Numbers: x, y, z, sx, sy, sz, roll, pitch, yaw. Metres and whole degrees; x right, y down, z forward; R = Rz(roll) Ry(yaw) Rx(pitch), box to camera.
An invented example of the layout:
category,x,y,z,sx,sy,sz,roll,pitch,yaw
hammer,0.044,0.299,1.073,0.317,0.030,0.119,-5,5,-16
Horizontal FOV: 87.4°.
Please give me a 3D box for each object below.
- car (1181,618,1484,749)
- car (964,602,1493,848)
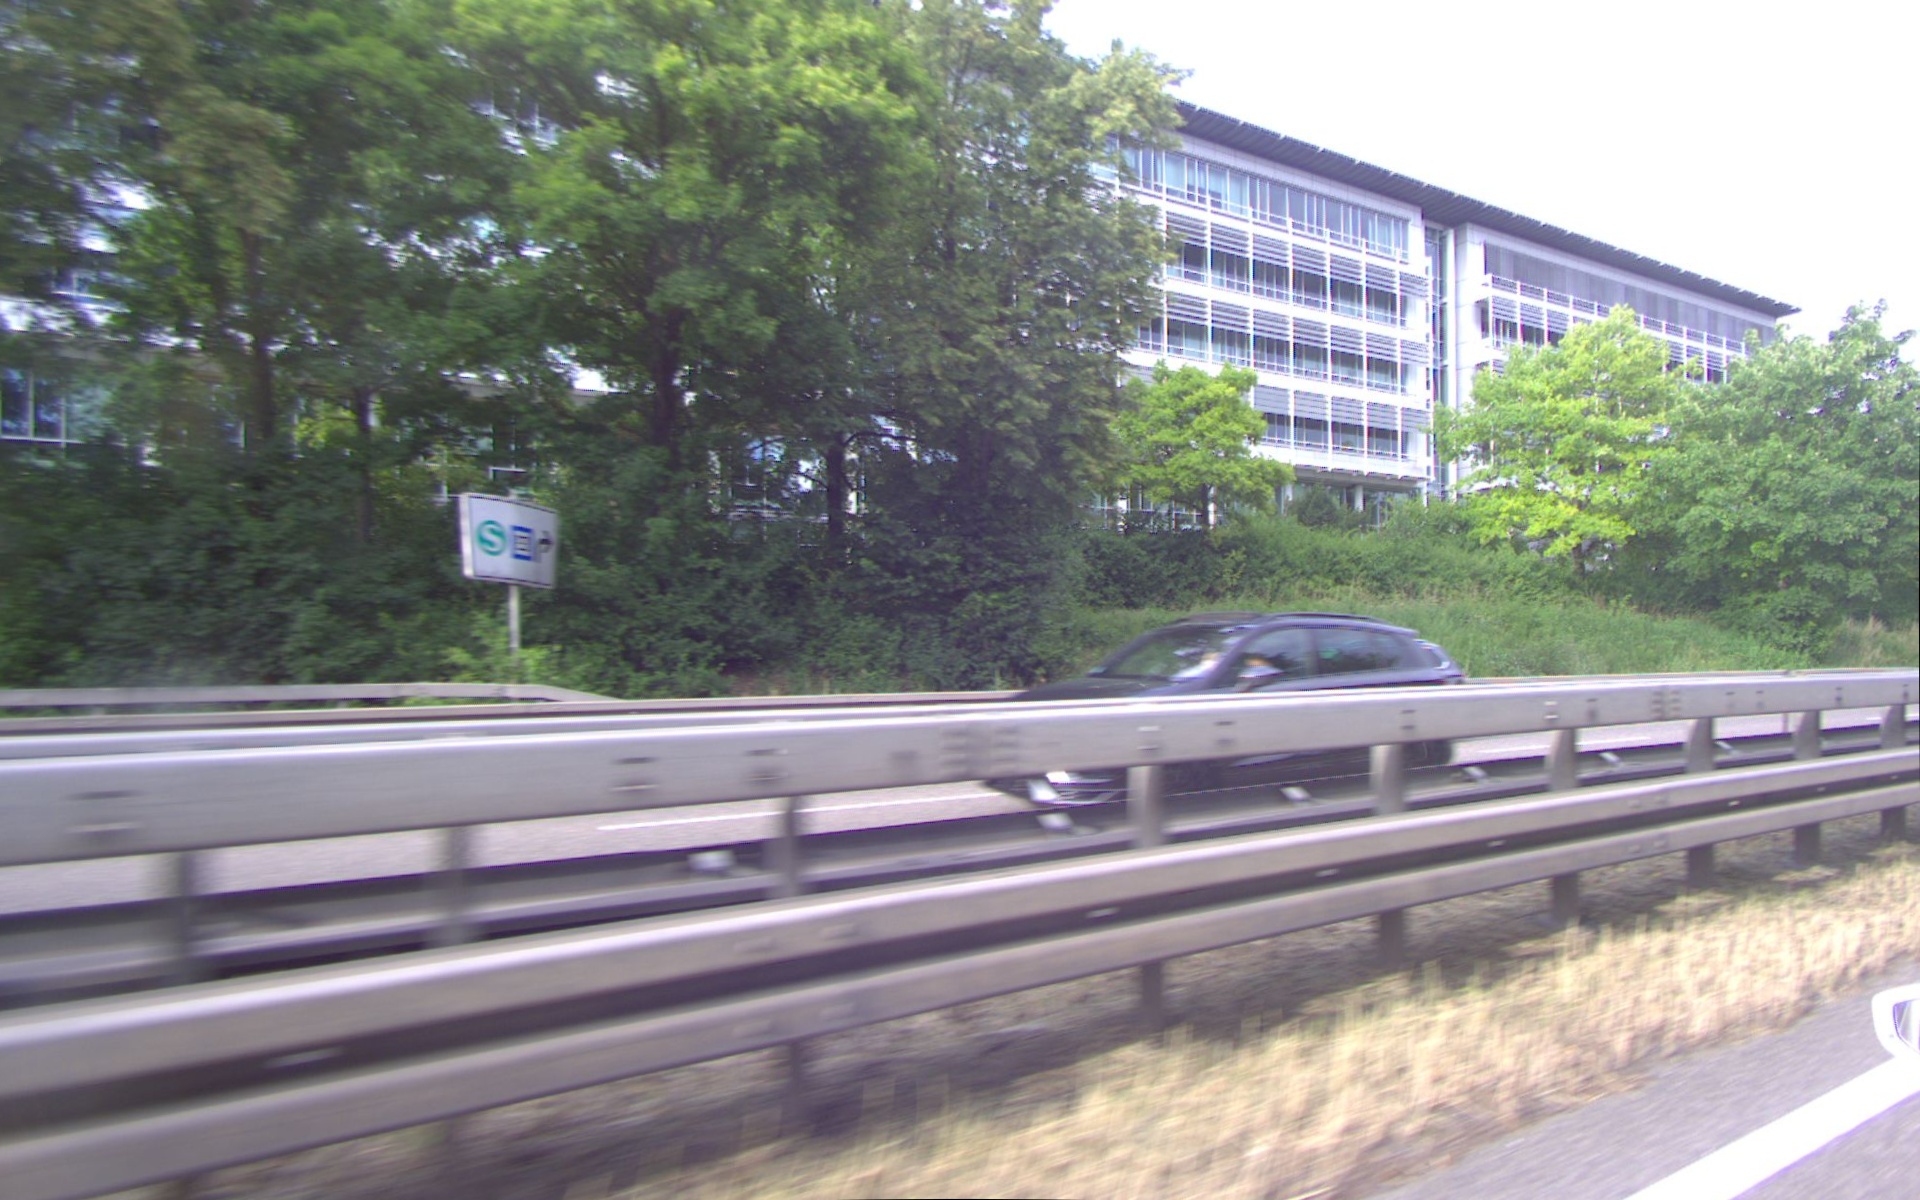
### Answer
category,x,y,z,sx,sy,sz,roll,pitch,yaw
car,5.323,1.112,14.241,4.261,1.610,1.735,2,-3,-30
car,2.322,0.875,8.416,4.264,1.605,1.813,1,-1,-30
